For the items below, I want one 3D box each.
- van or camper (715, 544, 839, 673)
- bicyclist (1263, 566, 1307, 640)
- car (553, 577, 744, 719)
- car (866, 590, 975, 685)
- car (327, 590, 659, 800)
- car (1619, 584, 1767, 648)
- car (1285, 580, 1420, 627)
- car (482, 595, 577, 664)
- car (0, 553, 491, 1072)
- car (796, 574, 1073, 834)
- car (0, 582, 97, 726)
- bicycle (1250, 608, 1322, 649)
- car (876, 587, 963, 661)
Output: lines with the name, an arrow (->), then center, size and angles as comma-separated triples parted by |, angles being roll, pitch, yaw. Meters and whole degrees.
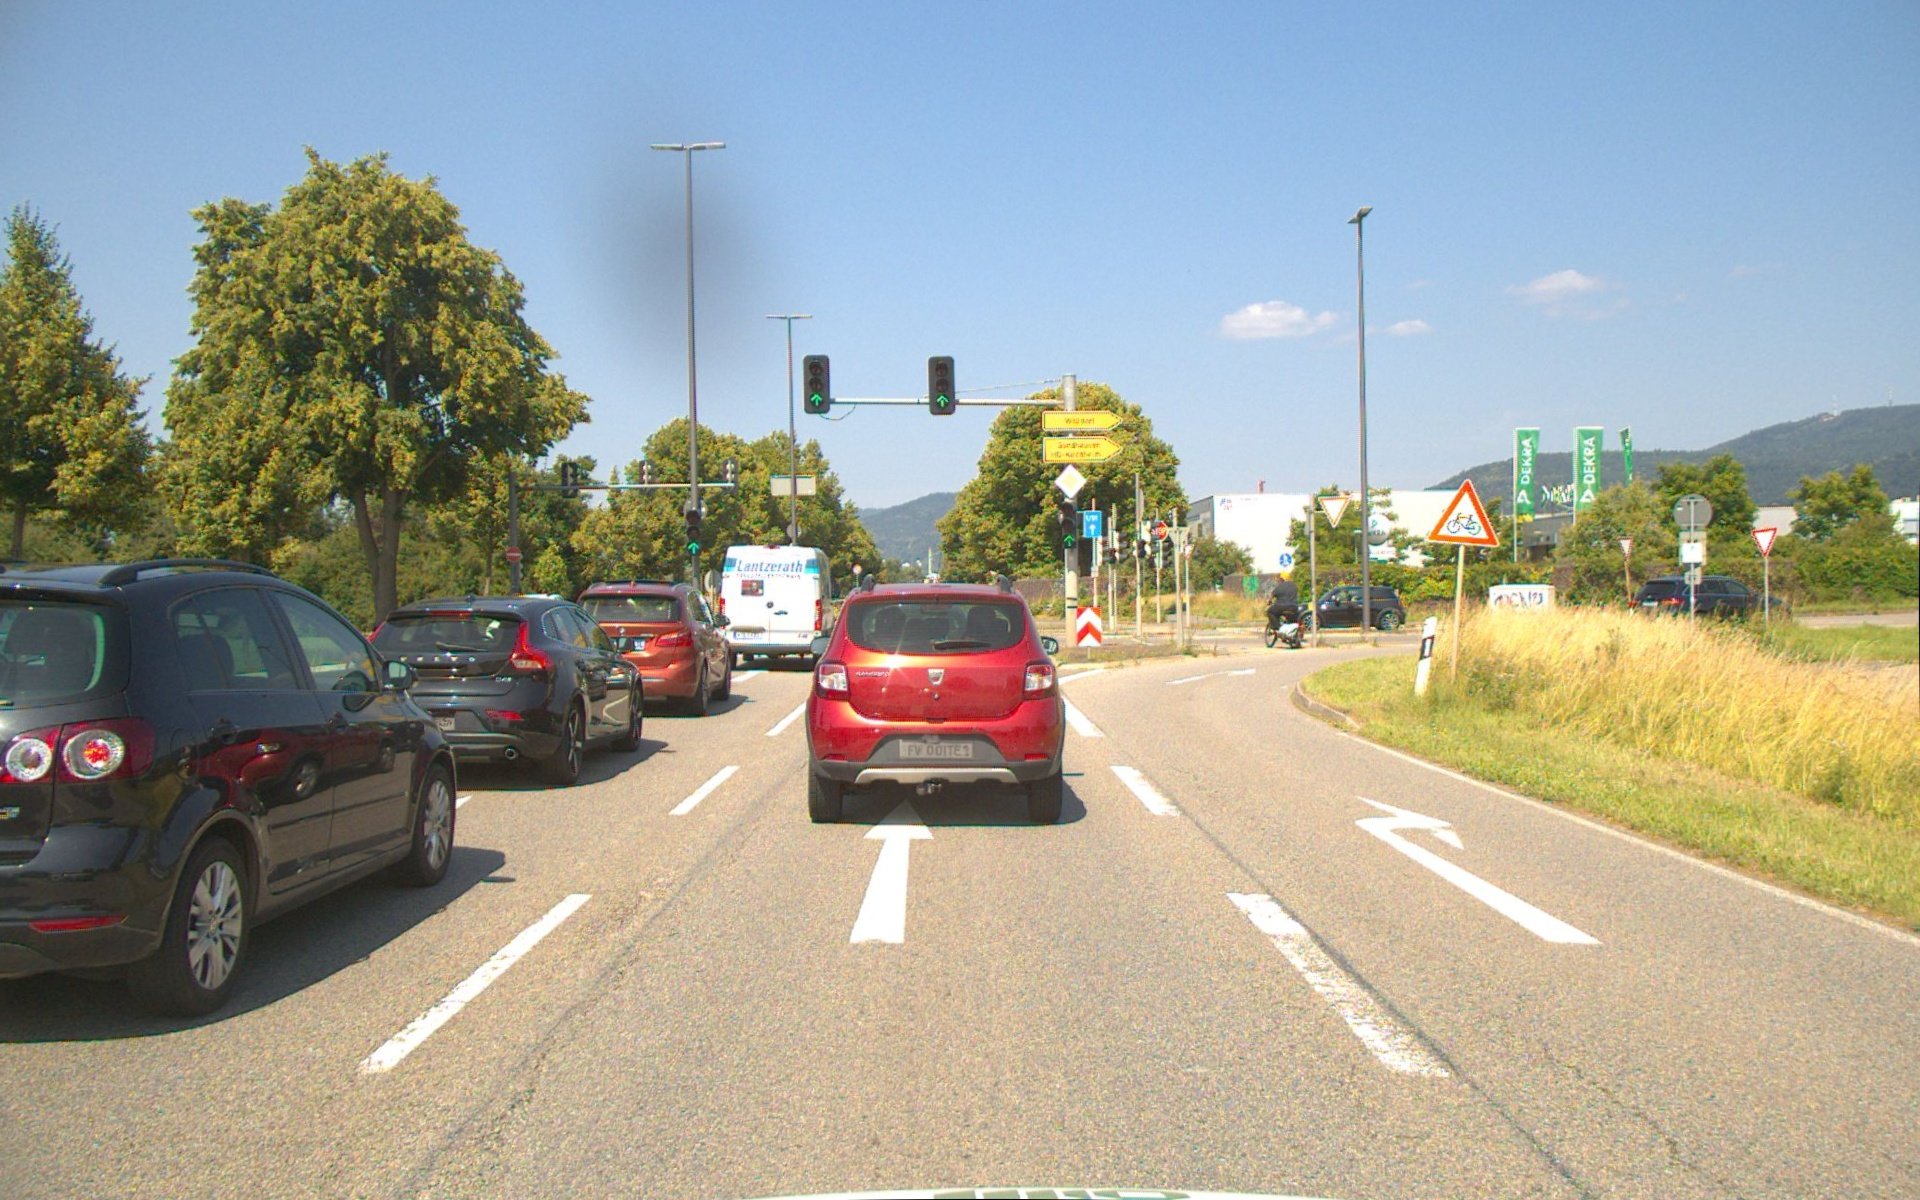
van or camper -> -3.509, 0.142, 32.522 | 2.136, 2.343, 4.824 | 0, 0, -3
bicyclist -> 8.067, 0.073, 41.088 | 0.788, 1.802, 0.806 | -1, 0, -12
car -> -3.841, 0.541, 20.991 | 1.689, 1.628, 3.955 | 0, 0, 0
car -> -0.612, 0.584, 28.174 | 1.713, 1.483, 3.677 | 0, 1, 1
car -> -3.718, 0.670, 13.866 | 1.667, 1.467, 3.955 | 1, 1, 0
car -> 19.770, 0.402, 44.562 | 4.297, 1.645, 1.972 | 0, 0, -40
car -> 12.242, 0.095, 51.742 | 3.902, 1.350, 1.807 | -1, 0, 6
car -> -11.186, 0.729, 43.196 | 1.711, 1.667, 4.131 | -1, 0, -5
car -> -3.396, 0.638, 7.055 | 1.688, 1.603, 3.892 | 0, 0, 0
car -> -0.133, 0.632, 12.095 | 1.713, 1.603, 3.677 | 0, 0, 1
car -> -14.036, 0.754, 22.617 | 1.953, 1.964, 5.014 | -1, 0, -2
bicycle -> 8.085, 0.681, 41.116 | 0.748, 0.931, 2.772 | -1, 1, -11
car -> -0.810, 0.473, 35.254 | 1.713, 1.483, 3.677 | 0, 1, 1
